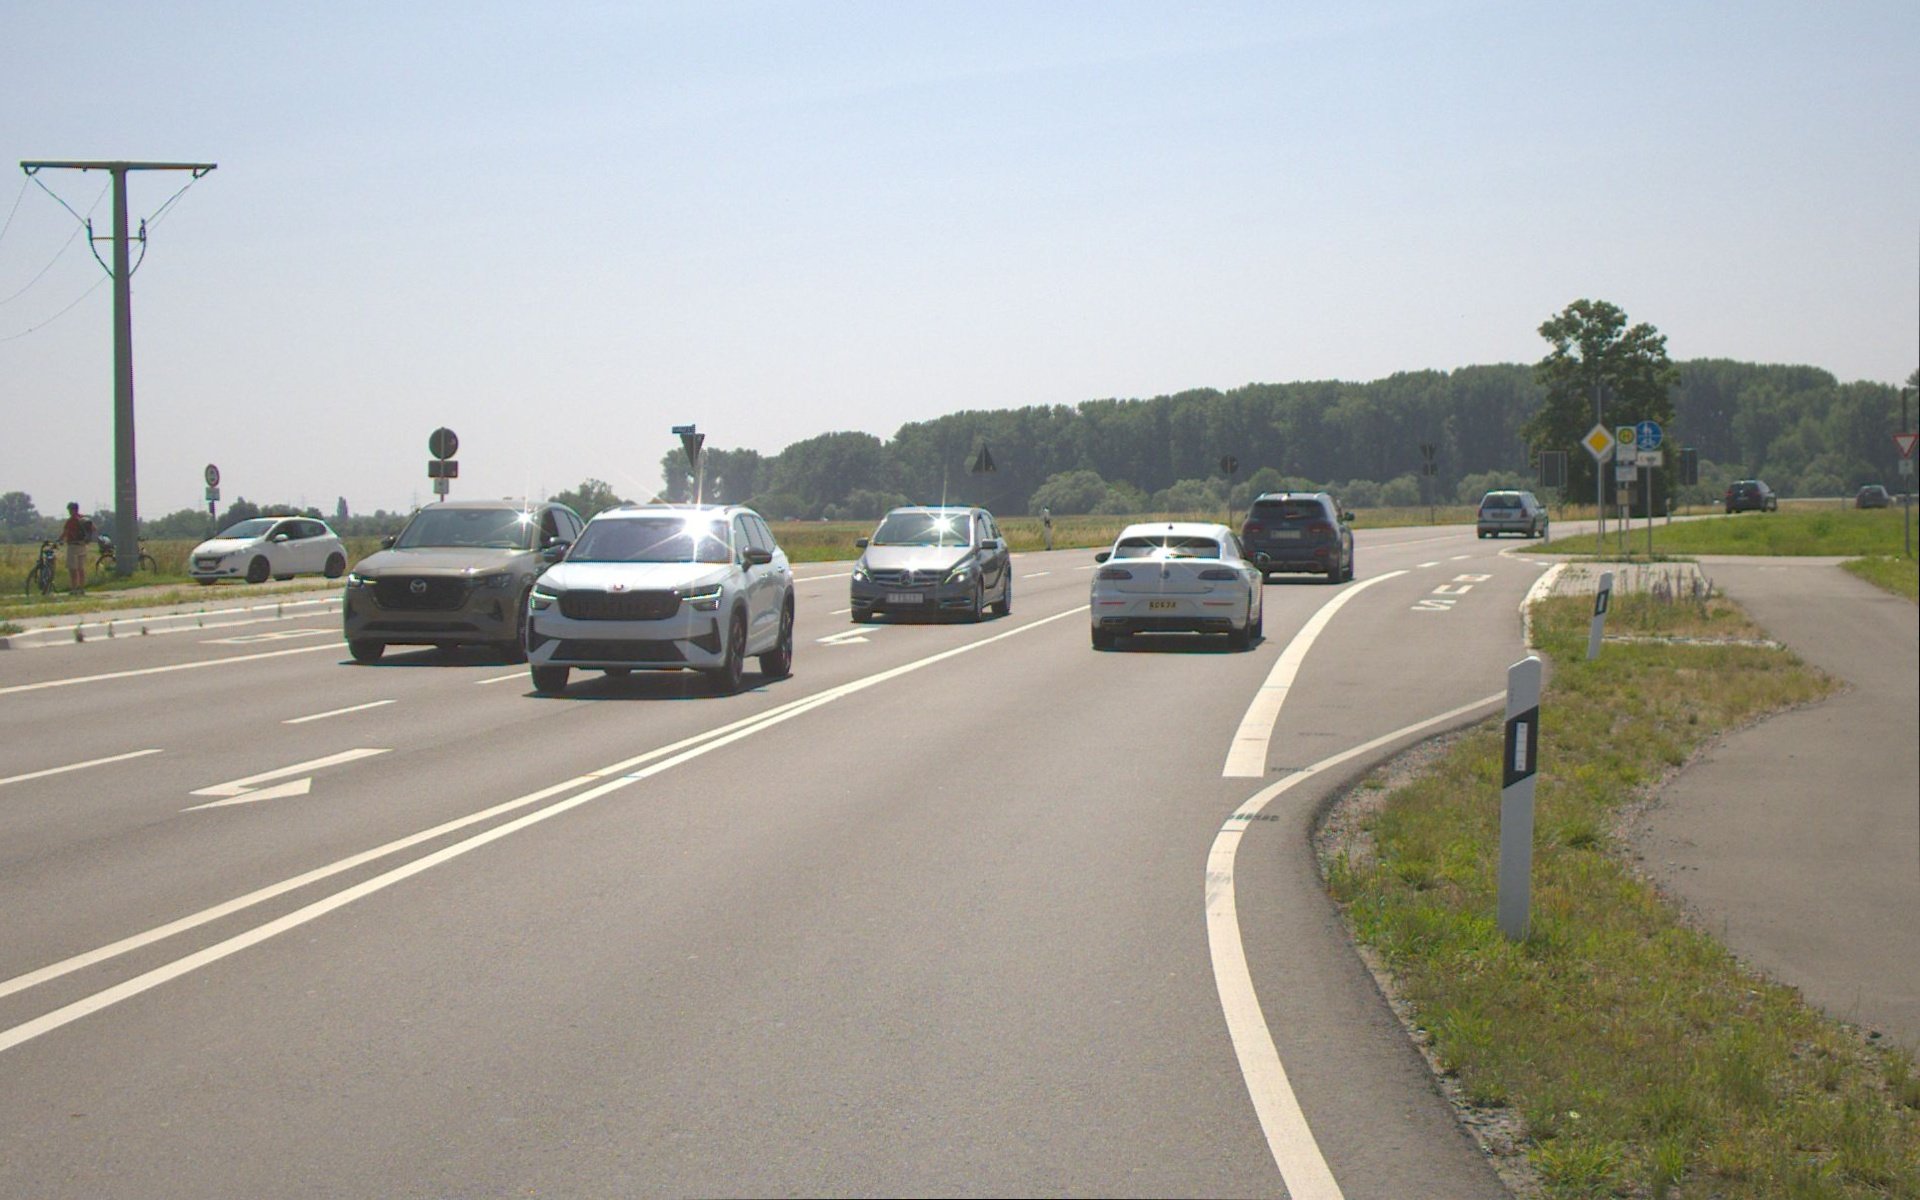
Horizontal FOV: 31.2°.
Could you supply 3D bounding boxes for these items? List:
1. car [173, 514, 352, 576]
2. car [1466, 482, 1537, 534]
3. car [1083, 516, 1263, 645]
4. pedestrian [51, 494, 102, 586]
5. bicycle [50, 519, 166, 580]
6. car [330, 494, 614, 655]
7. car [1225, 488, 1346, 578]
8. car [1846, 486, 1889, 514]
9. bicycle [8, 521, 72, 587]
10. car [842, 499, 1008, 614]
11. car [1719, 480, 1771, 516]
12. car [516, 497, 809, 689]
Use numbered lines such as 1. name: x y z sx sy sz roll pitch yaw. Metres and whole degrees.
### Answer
1. car: -15.573 -1.239 76.924 1.694 1.327 4.031 1 1 30
2. car: 16.660 -2.811 105.622 1.801 1.424 4.090 -3 -1 13
3. car: 2.575 -0.244 40.660 1.848 1.428 4.607 0 1 7
4. pedestrian: -17.056 -1.159 66.400 0.609 1.779 0.845 0 1 16
5. bicycle: -20.934 -1.245 84.483 2.608 1.367 0.902 -2 -1 -4
6. car: -5.273 -0.330 37.818 1.962 1.644 4.789 0 2 6
7. car: 6.206 -1.245 65.197 1.935 1.611 4.376 1 0 10
8. car: 51.838 -5.733 196.370 1.802 1.516 3.878 2 3 23
9. bicycle: -17.703 -0.888 66.158 0.491 1.243 1.509 0 1 16
10. car: -0.449 -0.653 48.587 1.732 1.550 4.378 0 2 8
11. car: 35.390 -4.581 154.895 1.801 1.471 4.410 -2 0 19
12. car: -2.682 -0.112 32.102 1.878 1.645 4.843 0 1 5
